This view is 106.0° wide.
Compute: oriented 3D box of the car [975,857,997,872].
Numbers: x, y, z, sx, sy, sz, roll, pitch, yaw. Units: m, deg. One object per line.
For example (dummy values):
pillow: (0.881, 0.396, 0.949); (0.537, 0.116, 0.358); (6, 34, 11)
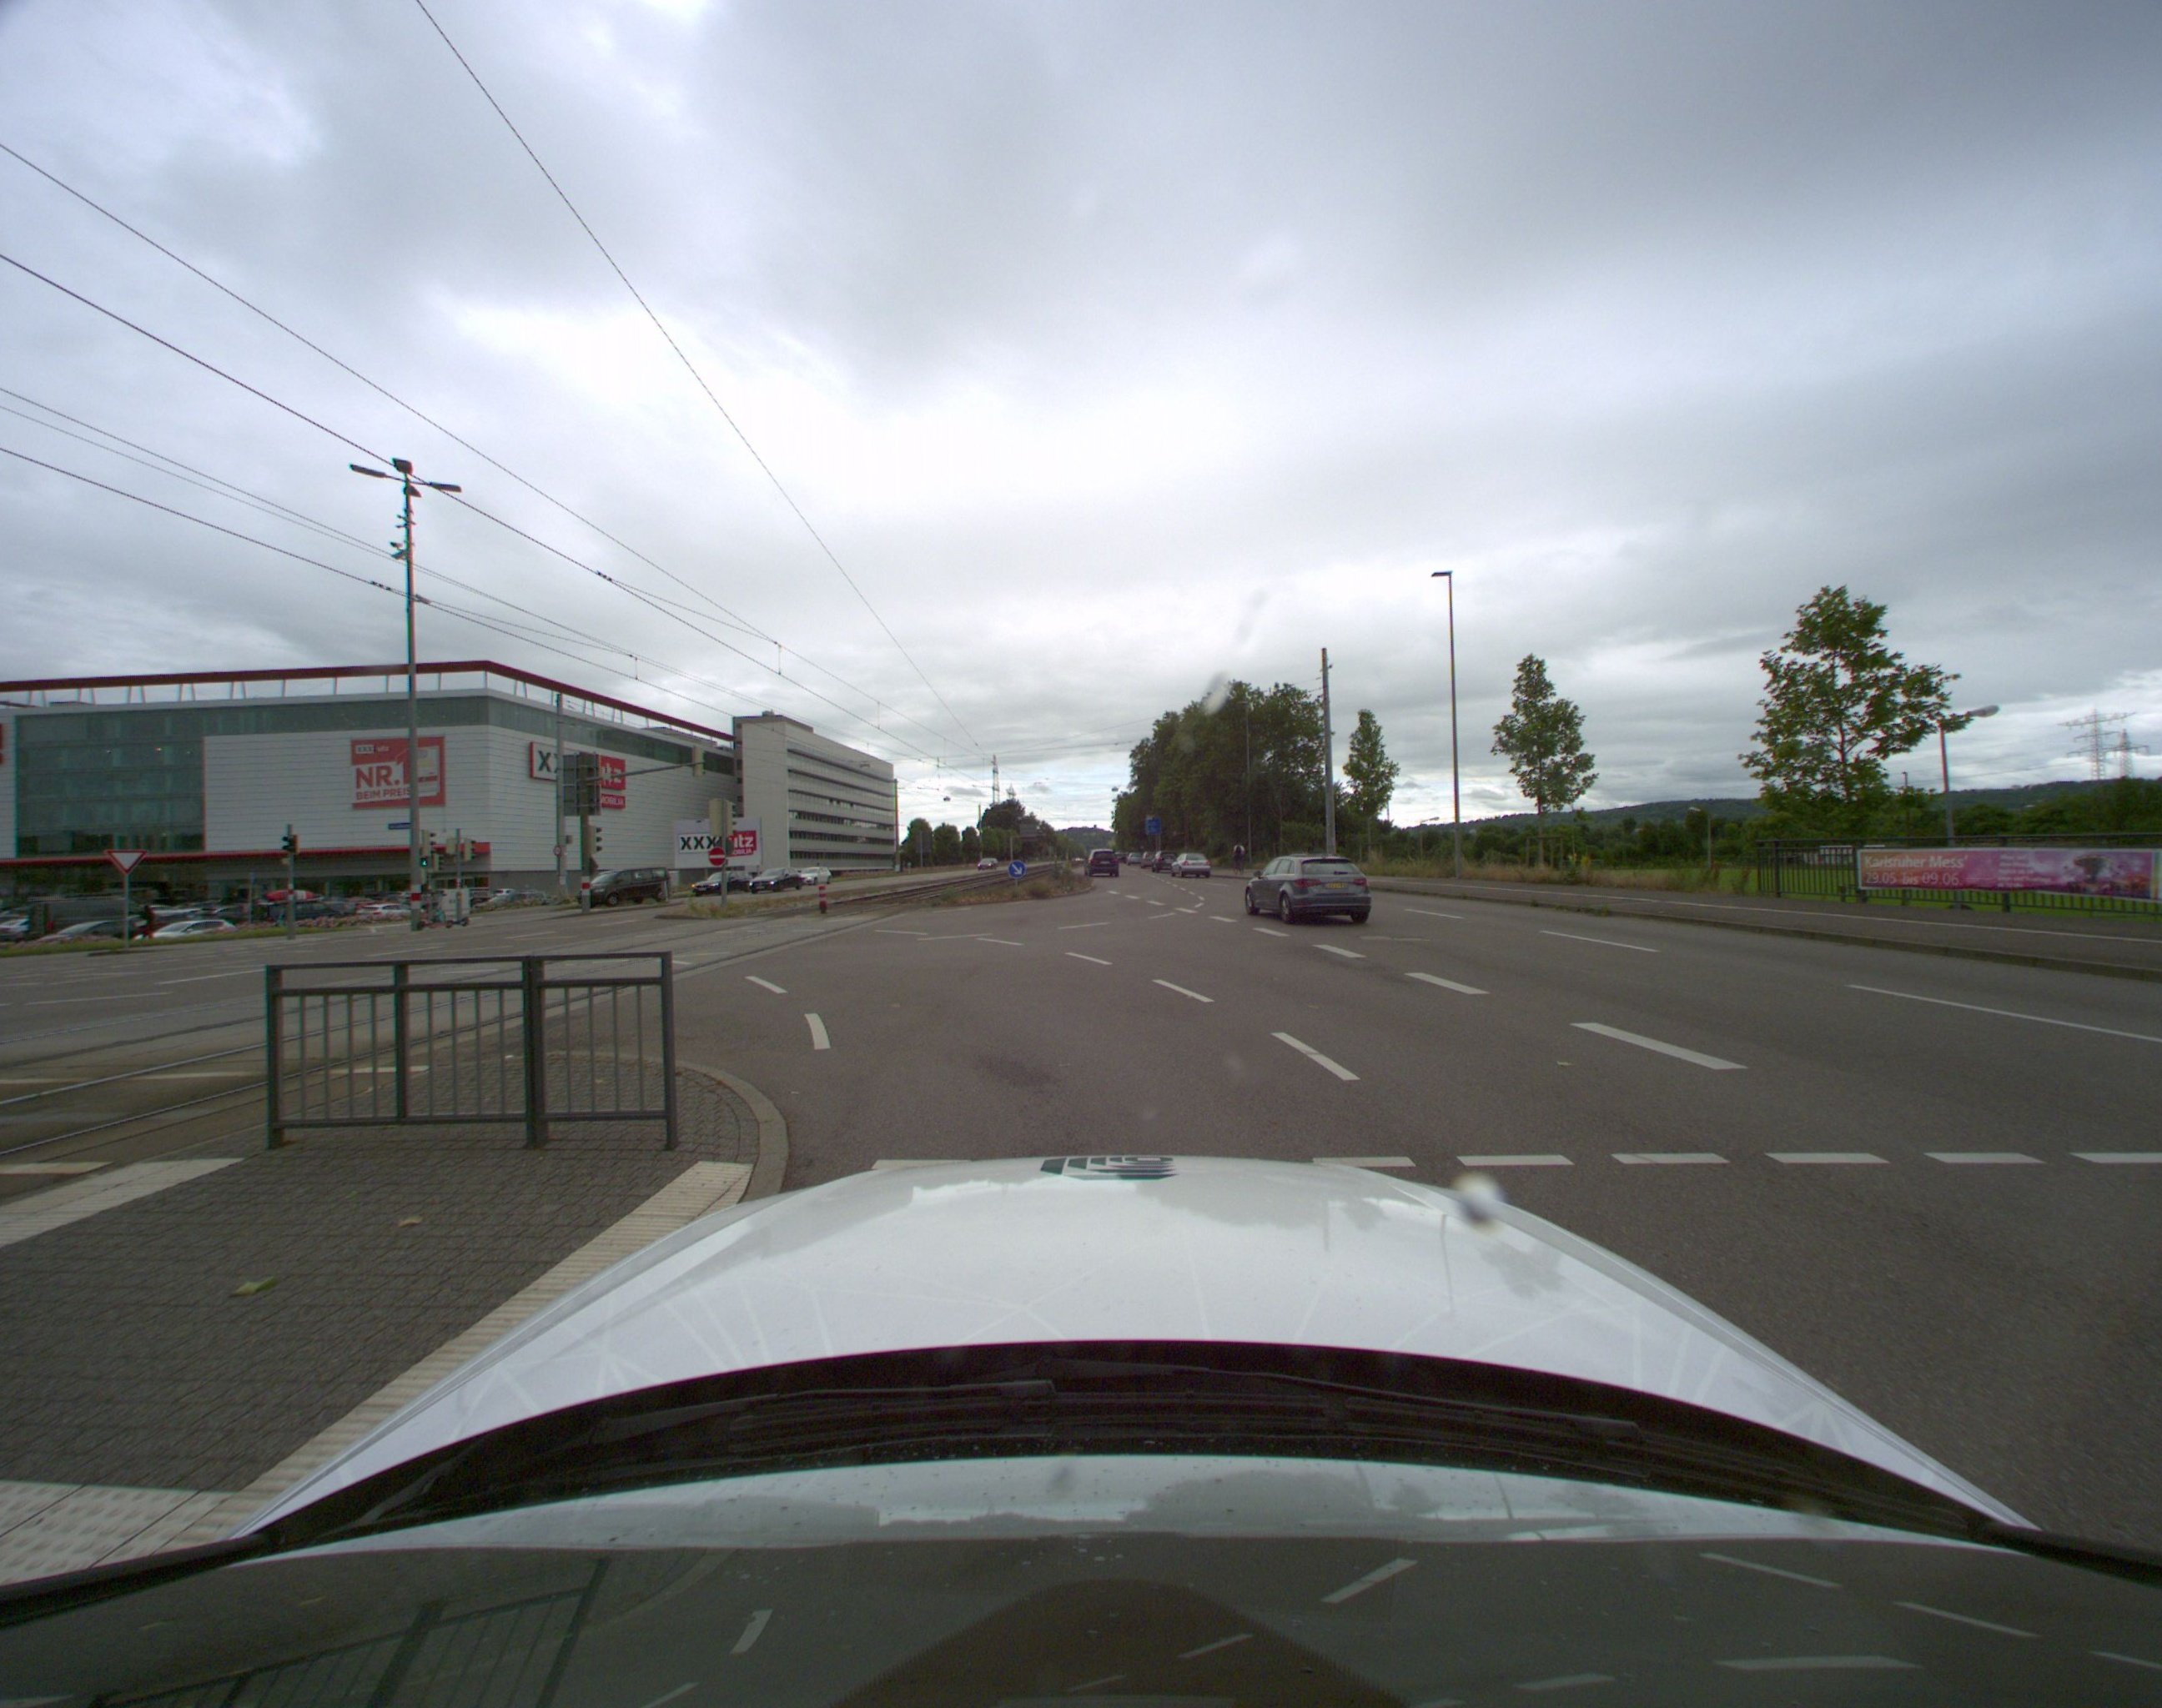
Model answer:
car: (-11.825, 1.268, 101.541); (1.985, 1.728, 4.003); (-1, 0, 3)

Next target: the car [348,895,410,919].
car: (-63.185, 4.747, 73.396); (1.805, 1.818, 4.008); (-3, 0, 7)

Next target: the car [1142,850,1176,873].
car: (5.618, 0.545, 59.058); (1.852, 1.562, 4.312); (1, -1, -3)

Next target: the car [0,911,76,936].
car: (-92.010, 6.097, 71.769); (1.772, 1.820, 4.005); (-3, -1, 5)

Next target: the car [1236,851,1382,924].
car: (4.897, 0.662, 18.084); (1.735, 1.401, 4.068); (-1, 0, -6)

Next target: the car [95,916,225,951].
car: (-47.204, 4.028, 41.868); (1.861, 1.446, 4.123); (-1, -1, 3)

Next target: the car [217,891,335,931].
car: (-52.049, 3.632, 52.825); (2.102, 2.165, 5.065); (-3, 0, 9)

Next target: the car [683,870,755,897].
car: (-22.337, 1.773, 50.450); (1.950, 1.464, 4.333); (-2, 0, 9)

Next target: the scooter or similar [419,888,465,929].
scooter or similar: (-20.884, 1.770, 26.635); (0.317, 1.256, 1.121); (-4, 0, 18)

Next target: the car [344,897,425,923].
car: (-49.057, 3.922, 57.473); (1.731, 1.476, 4.218); (-3, -1, 6)

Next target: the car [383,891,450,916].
car: (-55.614, 4.133, 68.269); (1.849, 1.780, 4.232); (-2, 0, 7)

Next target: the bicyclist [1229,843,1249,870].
bicyclist: (9.181, 0.147, 47.355); (0.816, 1.478, 0.997); (-3, 1, -8)

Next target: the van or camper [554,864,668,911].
van or camper: (-24.579, 1.711, 42.820); (2.099, 2.013, 4.778); (-5, 0, 20)

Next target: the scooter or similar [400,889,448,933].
scooter or similar: (-20.474, 1.764, 25.397); (0.459, 1.256, 1.023); (-5, 0, 18)

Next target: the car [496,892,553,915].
car: (-45.987, 4.042, 67.428); (1.873, 1.665, 4.001); (-2, -1, 2)

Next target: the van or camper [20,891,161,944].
van or camper: (-64.115, 4.047, 52.890); (1.971, 2.984, 5.417); (-3, -1, 13)

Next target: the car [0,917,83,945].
car: (-69.093, 5.077, 53.533); (1.848, 1.552, 4.007); (-3, -1, 6)

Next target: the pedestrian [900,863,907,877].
pedestrian: (-21.717, 1.991, 99.795); (0.538, 1.654, 0.619); (-1, -2, 39)

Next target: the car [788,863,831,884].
car: (-21.031, 1.474, 63.293); (1.720, 1.539, 4.050); (-1, 0, 4)

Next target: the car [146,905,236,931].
car: (-64.005, 4.589, 58.673); (1.840, 1.556, 4.006); (-3, -1, 5)

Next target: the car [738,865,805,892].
car: (-18.365, 1.427, 48.589); (1.820, 1.464, 4.219); (-1, 0, 10)

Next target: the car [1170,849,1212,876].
car: (6.372, 0.488, 47.559); (1.724, 1.509, 3.628); (0, 0, -4)

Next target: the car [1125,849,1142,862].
car: (6.103, 0.235, 95.545); (1.809, 1.481, 3.671); (-1, -1, 0)

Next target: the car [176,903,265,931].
car: (-61.394, 4.471, 58.192); (1.870, 1.670, 4.007); (-3, 0, 6)

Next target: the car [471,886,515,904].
car: (-60.899, 4.228, 84.458); (1.637, 1.560, 3.622); (-2, 0, 6)

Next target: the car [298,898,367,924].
car: (-63.068, 4.782, 68.693); (1.818, 1.861, 4.006); (-2, 0, 5)

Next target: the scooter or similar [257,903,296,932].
scooter or similar: (-36.575, 2.887, 37.038); (1.170, 1.233, 0.342); (-2, -3, -34)

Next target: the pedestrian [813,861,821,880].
pedestrian: (-25.965, 1.621, 80.097); (0.698, 1.791, 0.638); (0, -1, -23)

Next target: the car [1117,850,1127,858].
car: (7.744, -0.006, 154.972); (1.809, 1.481, 3.671); (-1, -1, 0)

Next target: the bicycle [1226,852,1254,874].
bicycle: (9.232, 0.511, 47.407); (0.816, 1.185, 2.516); (-3, 1, -8)

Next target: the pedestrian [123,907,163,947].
pedestrian: (-40.331, 3.115, 35.023); (0.712, 1.597, 0.784); (-5, -1, 1)

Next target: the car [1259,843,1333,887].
car: (7.803, 0.397, 29.919); (1.728, 1.479, 4.321); (-1, -1, 3)

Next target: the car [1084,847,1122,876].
car: (1.253, 0.426, 48.745); (1.829, 1.636, 4.310); (-1, 0, -4)

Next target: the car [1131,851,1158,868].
car: (5.887, 0.536, 76.425); (1.853, 1.562, 4.309); (1, -1, -5)
